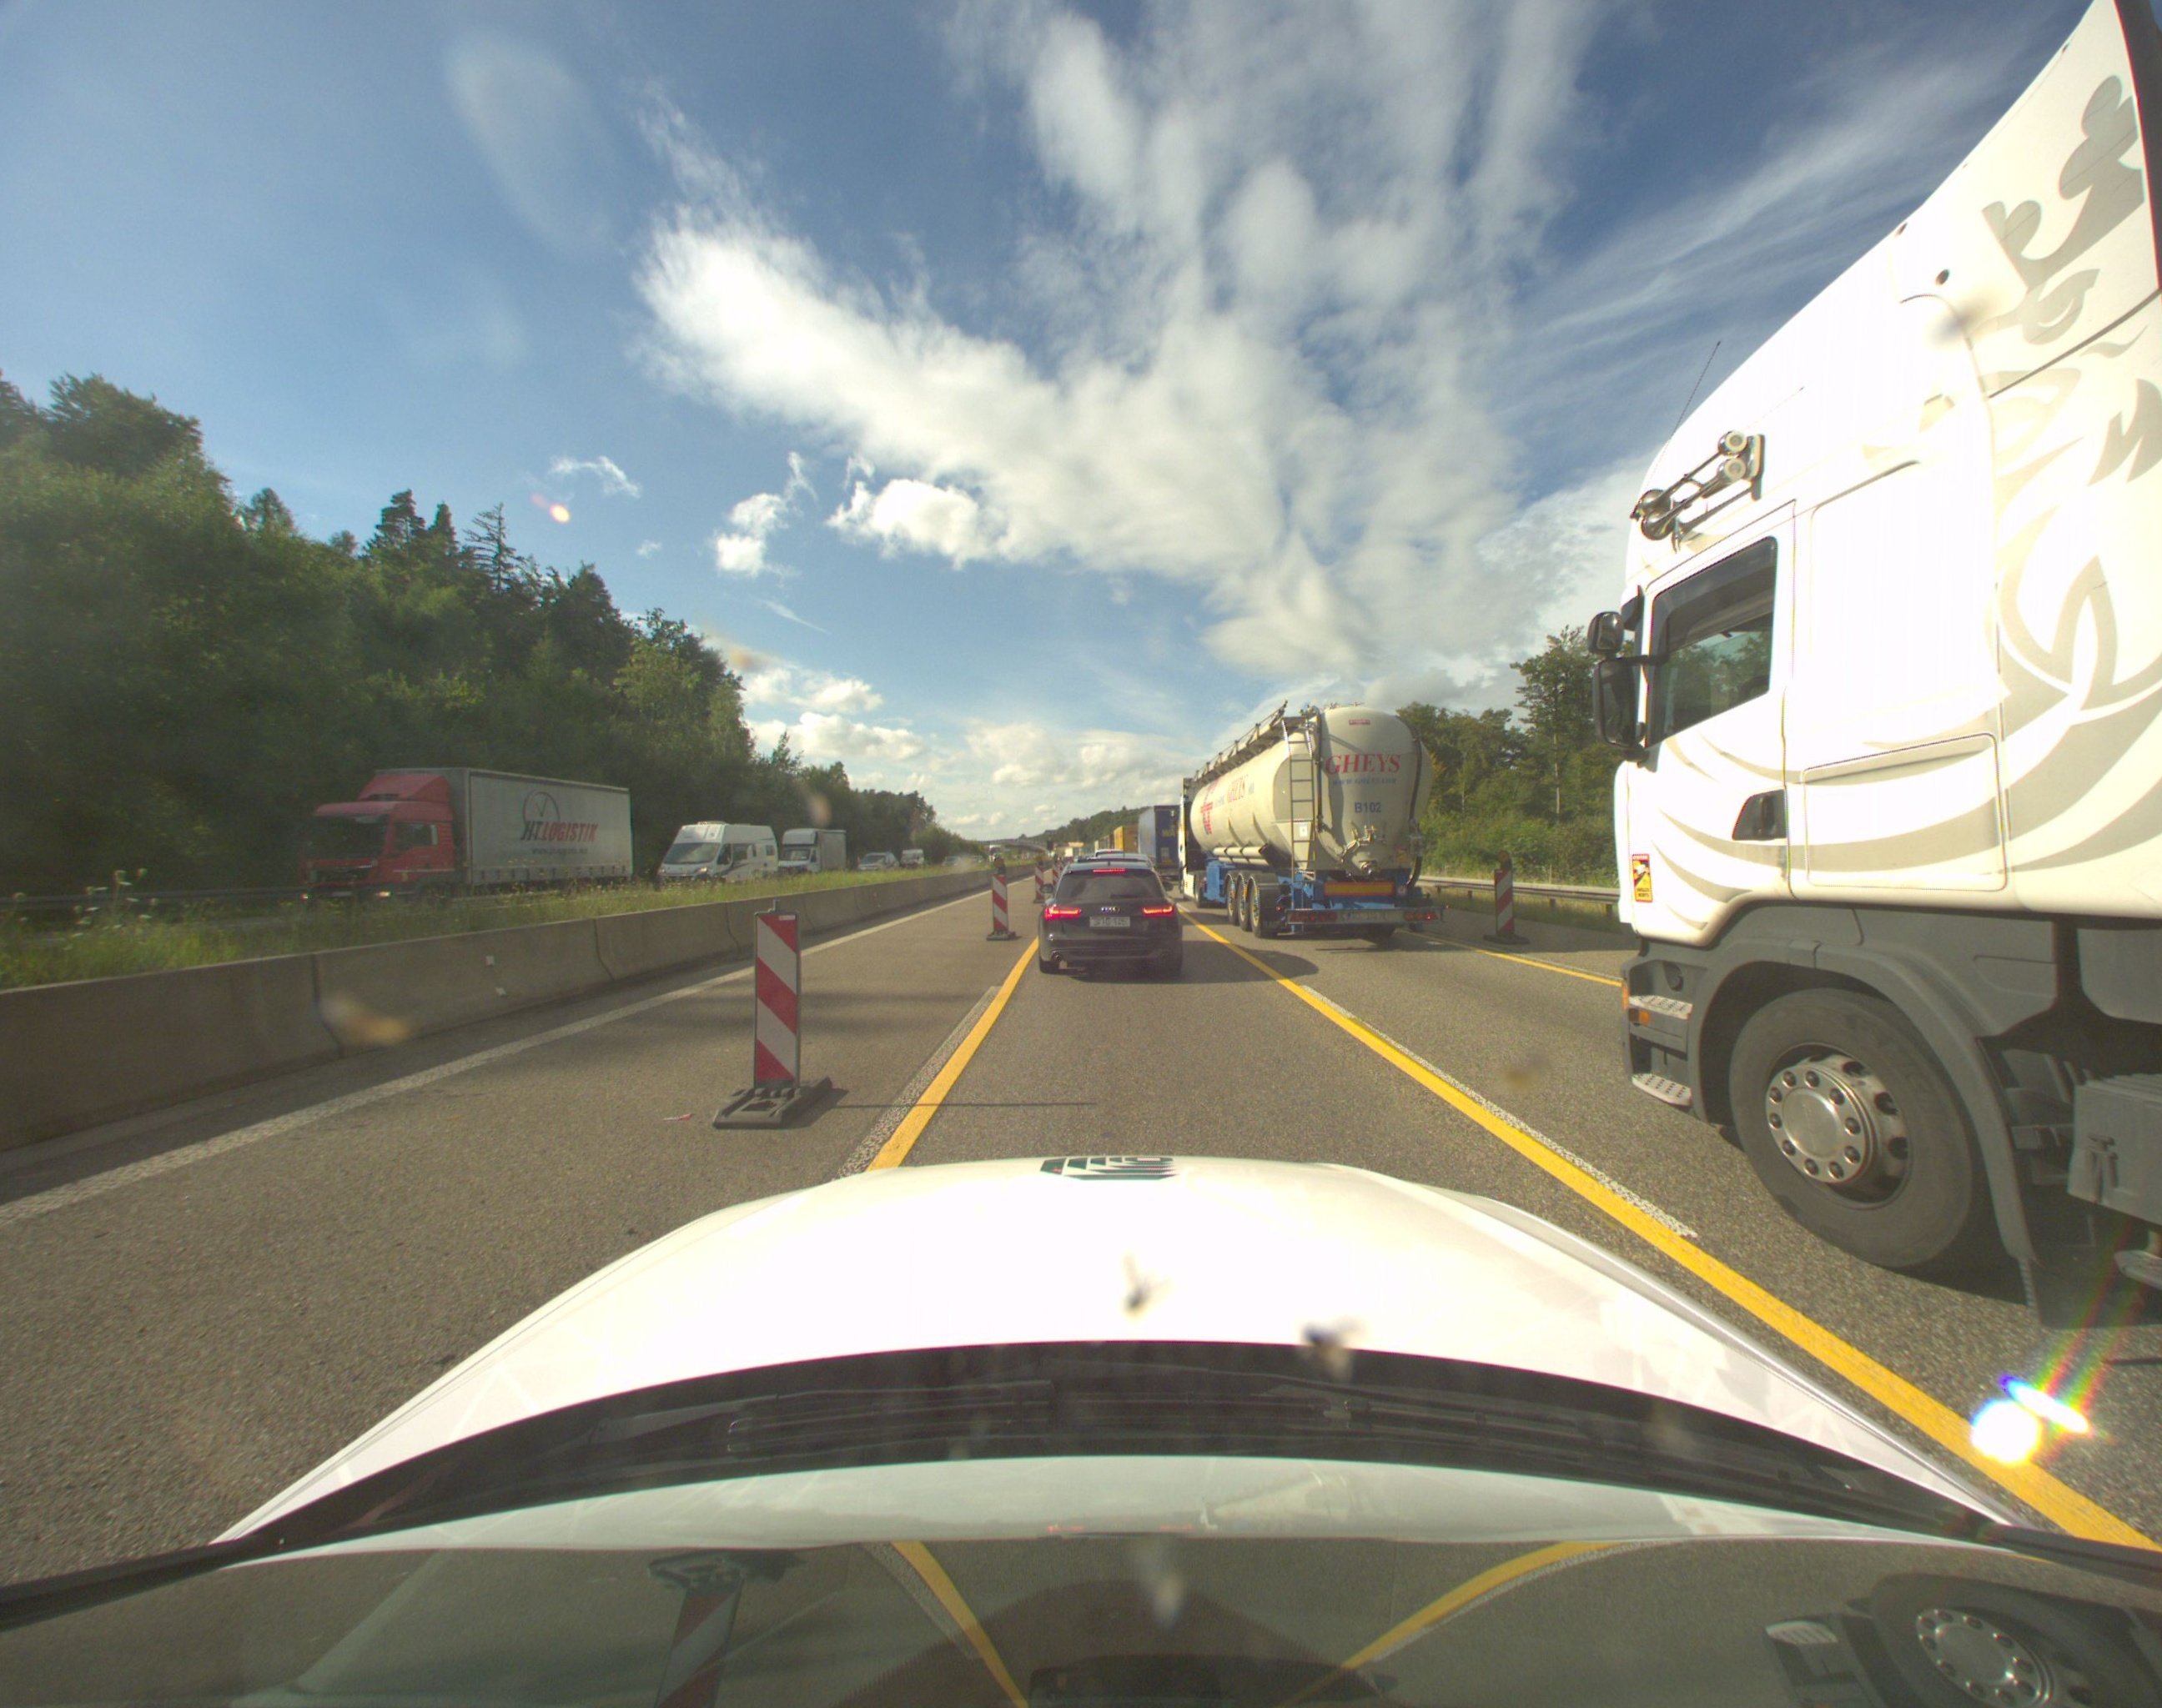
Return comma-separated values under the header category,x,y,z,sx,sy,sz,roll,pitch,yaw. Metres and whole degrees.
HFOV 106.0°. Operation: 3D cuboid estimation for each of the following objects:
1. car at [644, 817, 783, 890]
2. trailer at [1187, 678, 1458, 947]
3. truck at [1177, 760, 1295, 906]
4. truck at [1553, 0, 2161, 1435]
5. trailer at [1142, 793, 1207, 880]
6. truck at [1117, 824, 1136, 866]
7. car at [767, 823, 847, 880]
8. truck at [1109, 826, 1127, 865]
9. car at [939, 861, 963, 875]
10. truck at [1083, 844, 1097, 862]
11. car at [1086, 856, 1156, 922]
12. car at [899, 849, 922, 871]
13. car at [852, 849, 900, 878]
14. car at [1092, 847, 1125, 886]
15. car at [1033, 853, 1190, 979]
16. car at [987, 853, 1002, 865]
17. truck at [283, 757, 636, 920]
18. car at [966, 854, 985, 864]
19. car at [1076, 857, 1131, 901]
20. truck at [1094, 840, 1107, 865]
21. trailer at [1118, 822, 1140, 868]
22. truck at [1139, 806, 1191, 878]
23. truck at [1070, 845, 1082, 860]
category,x,y,z,sx,sy,sz,roll,pitch,yaw
car,-13.458,0.019,30.433,2.152,2.451,6.333,0,-1,2
trailer,4.352,-0.589,18.248,2.634,3.943,12.601,0,0,1
truck,4.533,-0.545,25.000,2.649,3.972,5.780,0,-1,1
truck,3.933,-0.582,1.652,2.659,3.959,5.711,-1,0,1
trailer,5.205,-0.852,47.053,2.795,4.413,10.435,0,-1,1
truck,4.331,-0.804,77.279,1.604,3.897,4.072,0,-1,1
car,-17.345,-0.130,52.046,2.478,3.370,7.453,0,-1,1
truck,4.799,-1.119,107.487,1.987,4.914,9.561,0,0,0
car,-13.944,1.498,87.469,1.772,1.387,4.312,0,-1,2
truck,2.261,-0.226,203.154,3.294,4.175,9.699,-1,0,0
car,0.918,0.776,19.324,1.518,1.439,3.286,0,-1,1
car,-21.202,0.703,101.264,2.247,2.643,5.009,0,-1,-6
car,-13.309,0.619,53.137,1.937,1.813,4.120,0,-1,2
car,1.383,0.611,40.742,1.575,1.837,3.112,0,-1,1
car,0.417,0.752,11.634,1.842,1.463,4.001,-1,-1,1
car,-14.849,0.927,140.456,1.986,2.014,4.833,0,-1,1
truck,-18.049,-0.379,25.077,2.790,3.992,10.189,0,0,2
car,-14.464,0.650,112.273,1.951,1.363,4.289,0,-1,2
car,0.774,0.818,27.673,1.745,1.397,3.609,0,-1,1
truck,3.363,-0.236,140.523,2.130,4.257,7.072,0,-1,1
trailer,4.279,-0.759,73.453,1.611,3.918,6.489,0,-1,1
truck,5.367,-0.703,53.455,2.796,4.370,7.793,0,-1,1
truck,-1.372,-0.463,233.755,3.295,4.175,9.696,-1,0,-2
